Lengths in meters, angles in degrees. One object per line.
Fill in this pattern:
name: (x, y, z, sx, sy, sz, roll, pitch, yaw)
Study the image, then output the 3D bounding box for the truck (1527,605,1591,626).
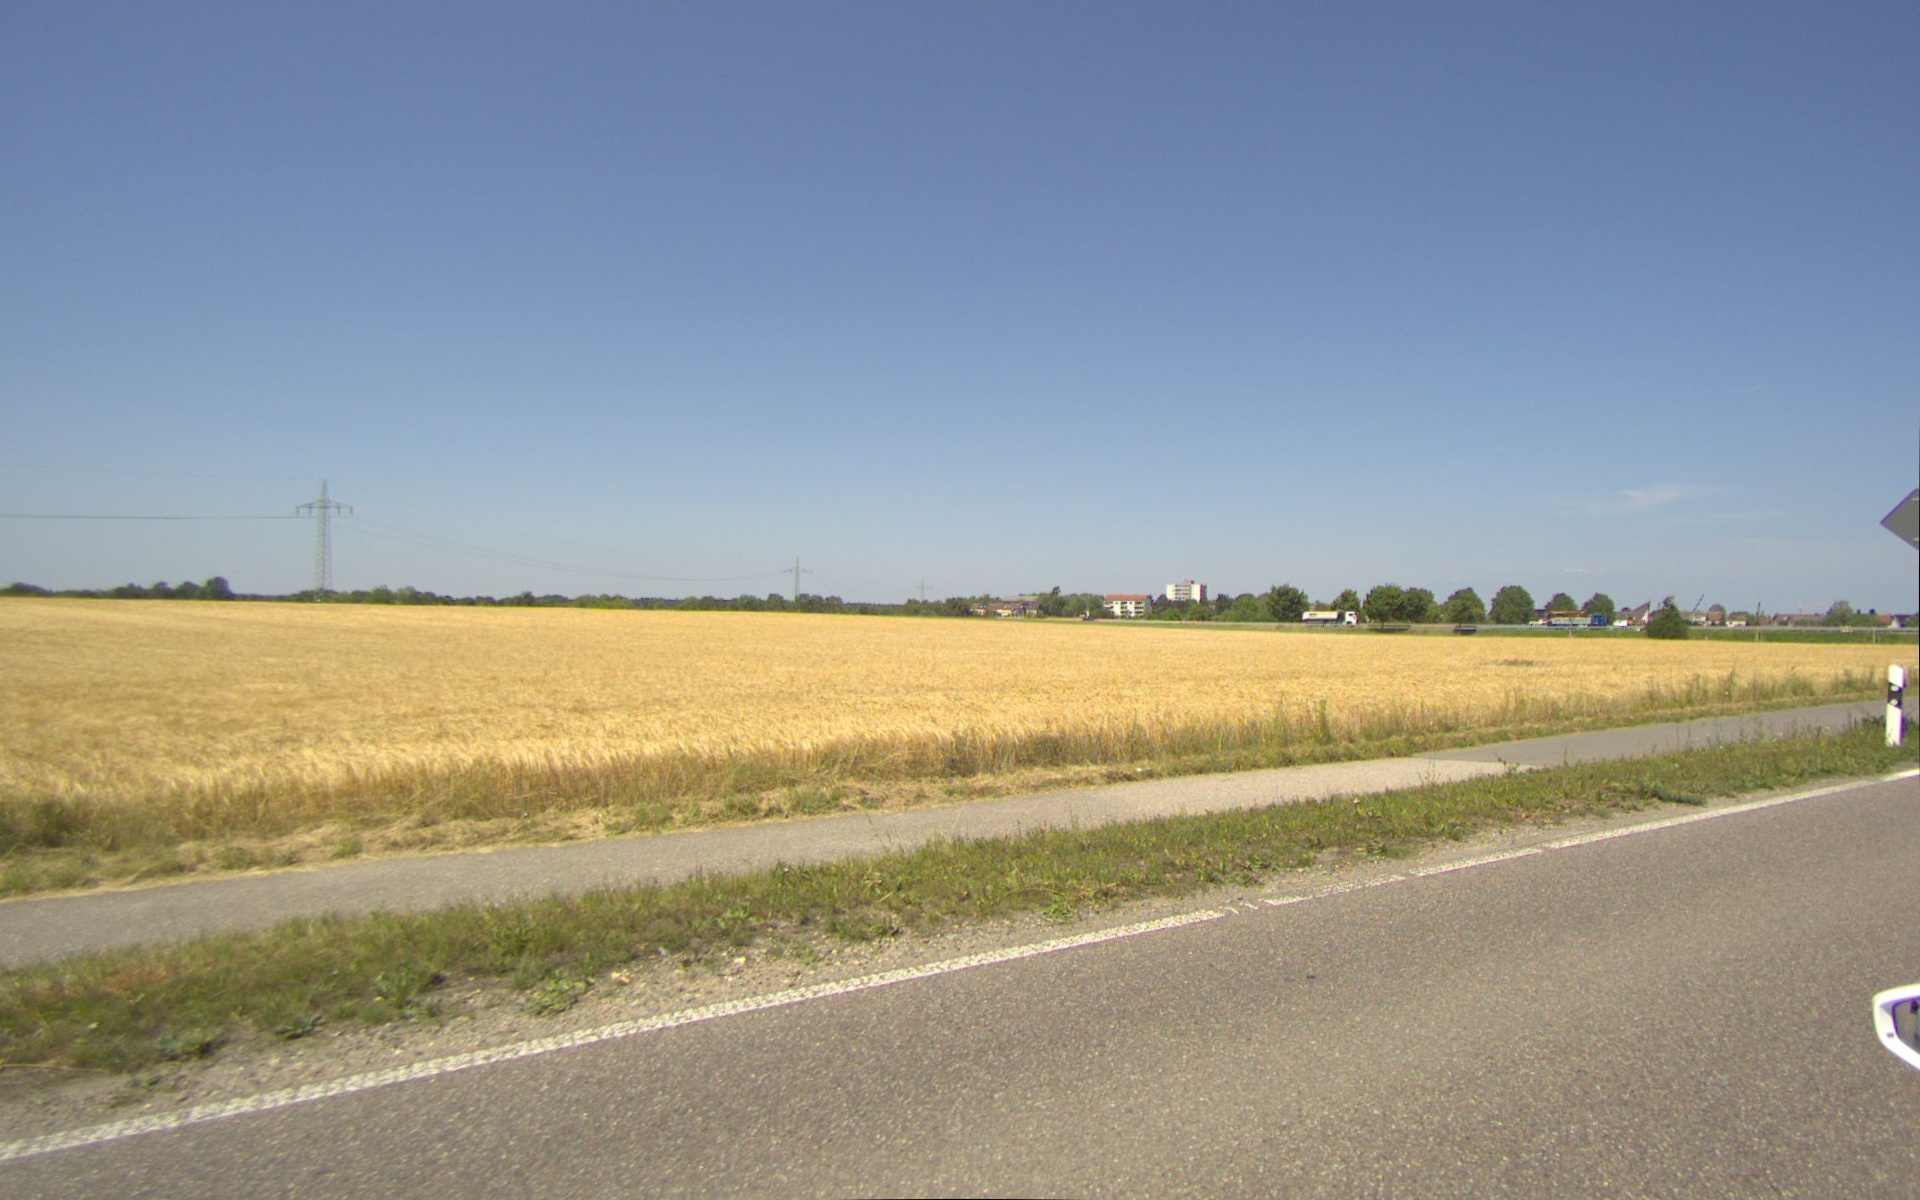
truck: (112.358, 2.863, 188.491, 2.603, 3.844, 10.000, 0, 0, -38)

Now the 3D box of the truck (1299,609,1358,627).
truck: (80.820, 3.862, 220.378, 11.841, 3.663, 2.970, 1, 1, 38)
